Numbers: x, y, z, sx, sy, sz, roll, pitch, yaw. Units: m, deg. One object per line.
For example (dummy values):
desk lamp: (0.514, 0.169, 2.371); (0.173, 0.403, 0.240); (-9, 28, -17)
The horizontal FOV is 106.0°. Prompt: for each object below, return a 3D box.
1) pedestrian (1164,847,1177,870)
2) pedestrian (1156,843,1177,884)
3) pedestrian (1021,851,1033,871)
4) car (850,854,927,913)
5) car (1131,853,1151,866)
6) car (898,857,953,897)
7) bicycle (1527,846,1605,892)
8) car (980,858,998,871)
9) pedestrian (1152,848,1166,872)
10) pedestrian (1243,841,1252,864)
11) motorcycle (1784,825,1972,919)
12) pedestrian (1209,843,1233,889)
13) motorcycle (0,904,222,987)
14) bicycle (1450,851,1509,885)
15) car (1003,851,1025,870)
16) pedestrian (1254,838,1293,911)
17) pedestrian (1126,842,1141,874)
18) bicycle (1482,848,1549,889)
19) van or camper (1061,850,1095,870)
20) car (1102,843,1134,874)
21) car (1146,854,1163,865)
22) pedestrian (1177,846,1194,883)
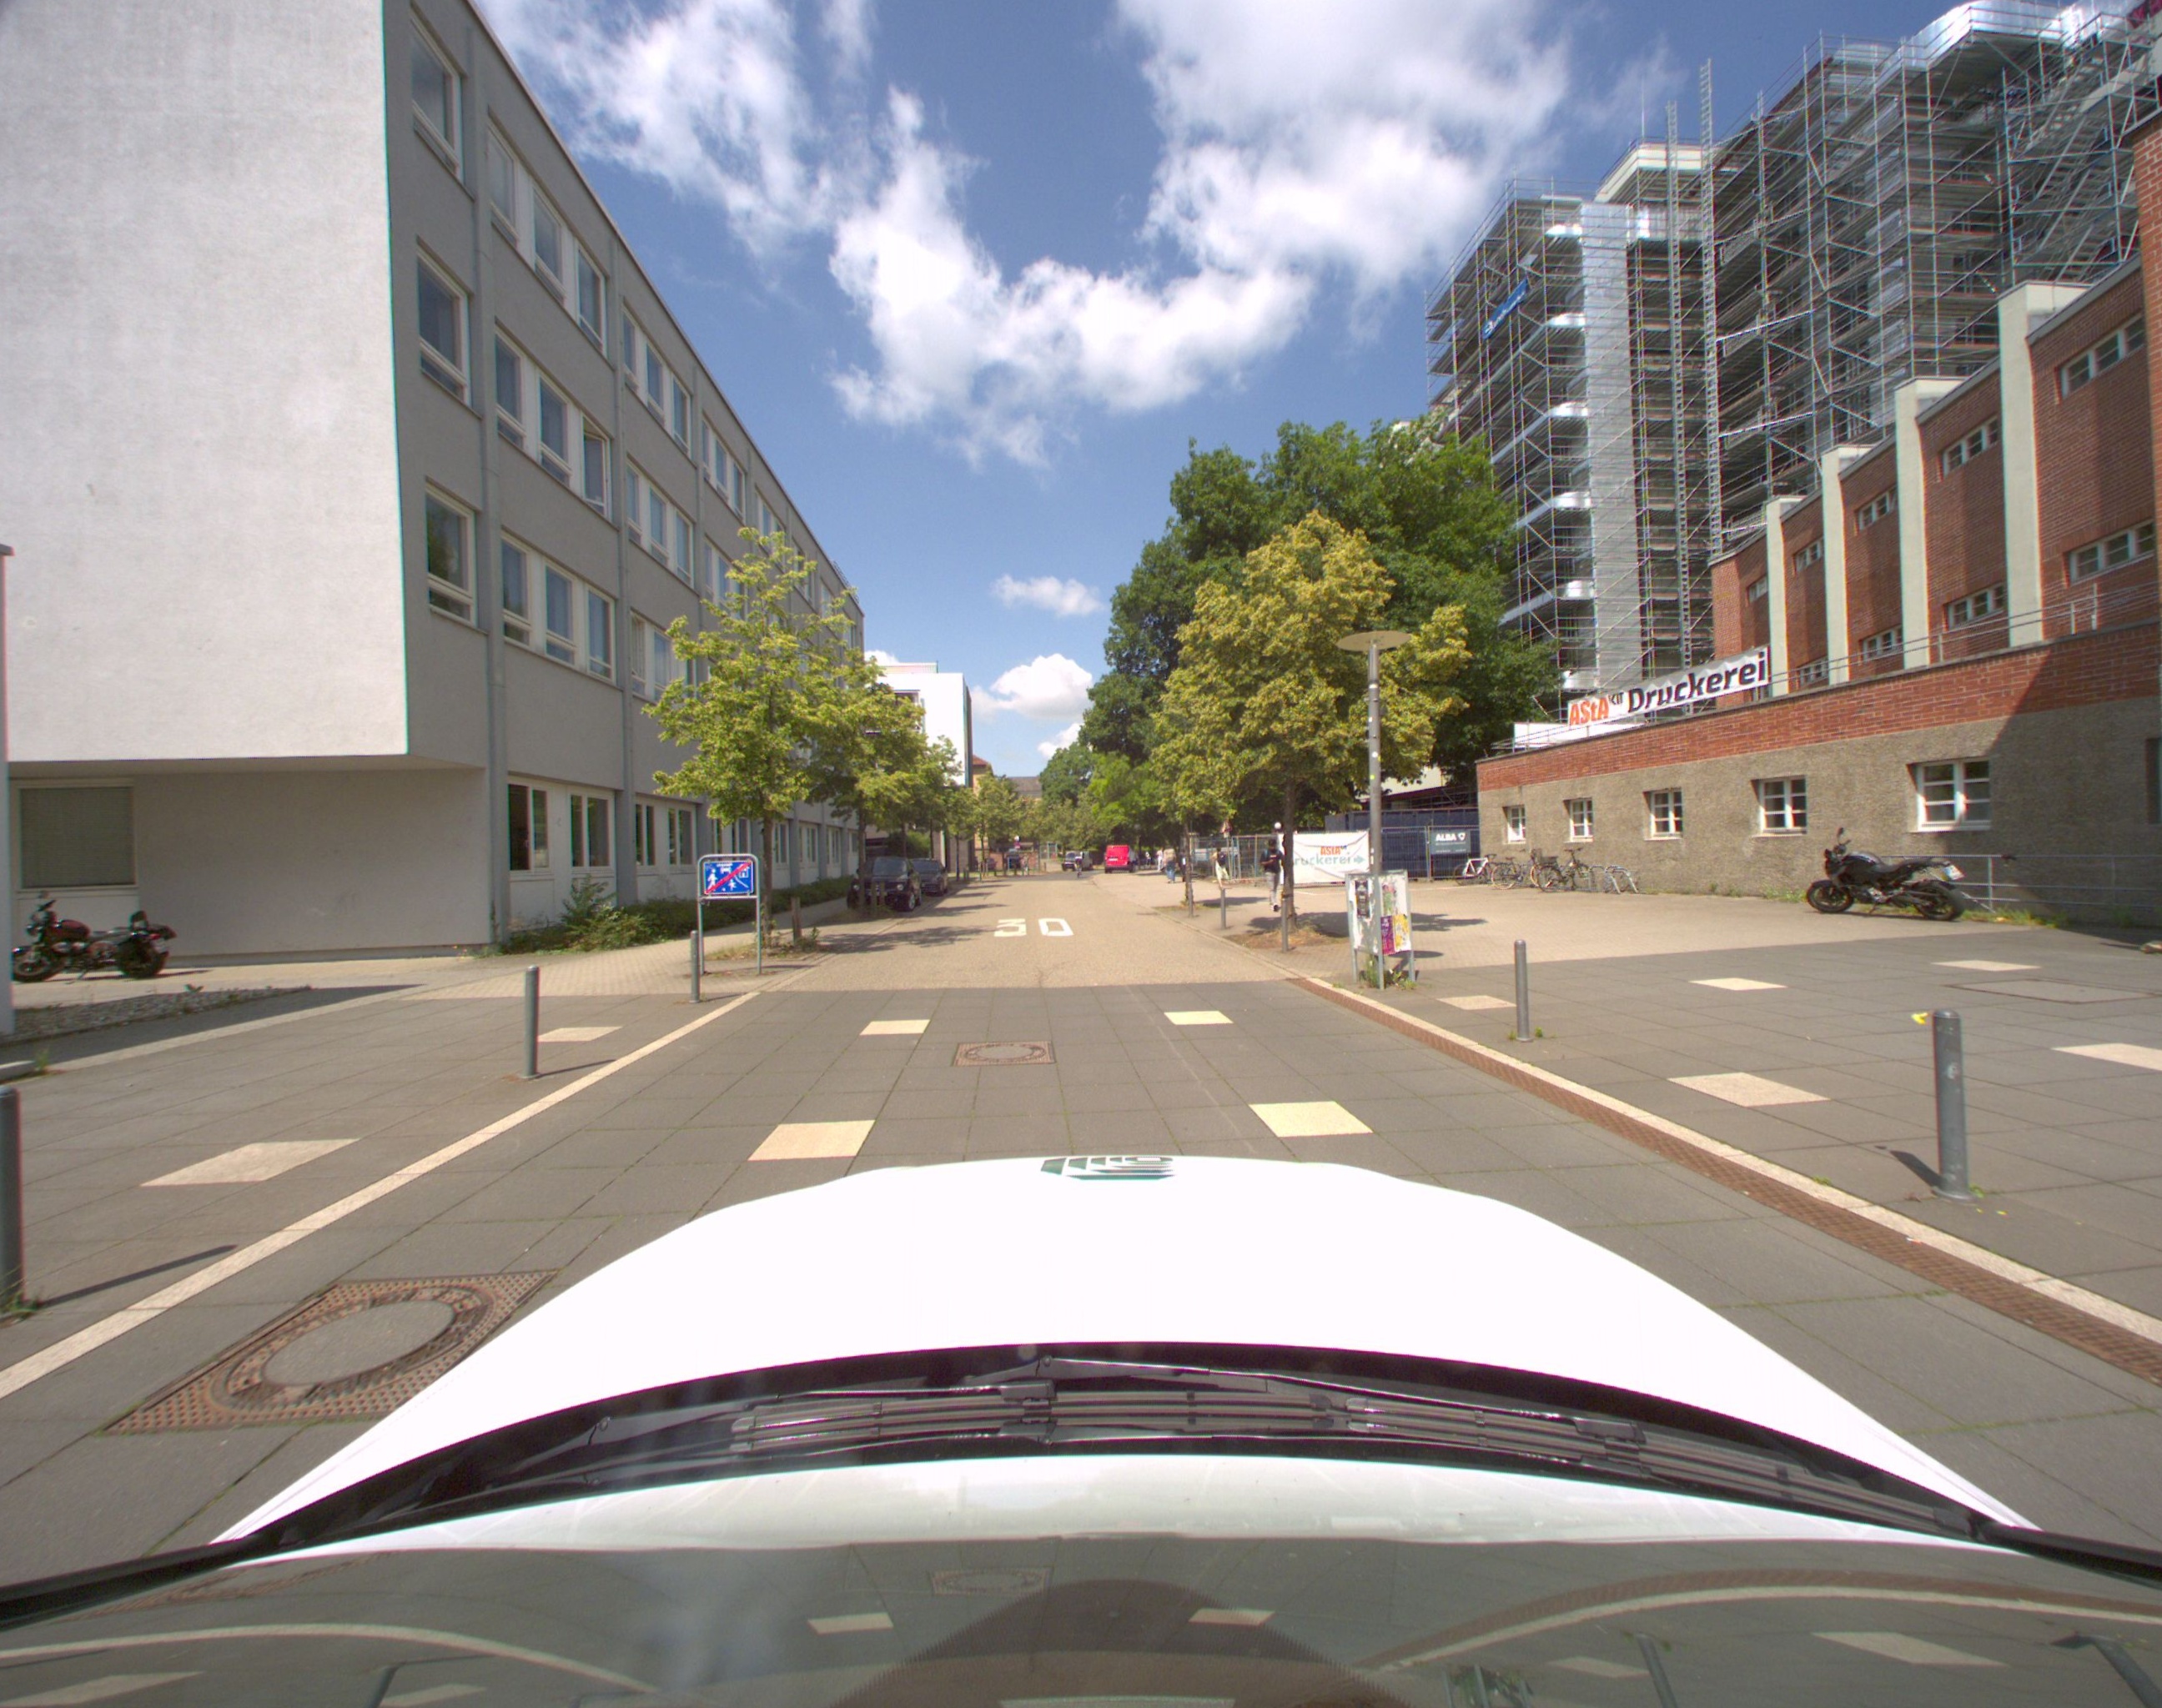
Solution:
pedestrian: (6.670, 0.310, 60.976); (0.749, 1.710, 0.557); (-1, -1, -40)
pedestrian: (3.798, 0.424, 36.357); (0.846, 1.764, 0.716); (-2, 0, 4)
pedestrian: (-4.870, 0.628, 73.422); (0.578, 1.764, 0.916); (-2, 0, 24)
car: (-5.634, 0.806, 24.290); (1.695, 1.564, 4.059); (-2, 0, -6)
car: (7.877, 0.707, 106.408); (1.746, 1.522, 4.129); (-2, 0, 16)
car: (-6.147, 0.867, 32.542); (1.776, 1.461, 4.250); (-1, 0, -6)
bicycle: (12.696, 0.388, 21.327); (1.802, 1.109, 0.447); (-2, 0, -5)
car: (-9.895, 1.101, 88.189); (1.815, 1.324, 3.760); (-2, 0, -5)
pedestrian: (5.916, 0.473, 61.850); (0.727, 1.821, 0.622); (-1, -1, -40)
pedestrian: (13.867, -0.128, 67.855); (0.541, 1.837, 0.762); (-2, -1, 2)
motorcycle: (12.389, 0.259, 12.786); (0.694, 1.323, 2.218); (-2, 0, -2)
pedestrian: (5.232, 0.457, 30.432); (0.648, 1.666, 0.903); (-2, 0, -3)
motorcycle: (-14.392, 1.336, 12.109); (2.171, 1.042, 0.881); (-2, 0, -4)
bicycle: (12.589, 0.429, 25.739); (1.668, 1.003, 0.447); (-2, 0, -5)
car: (-7.345, 0.711, 88.514); (2.172, 1.926, 5.174); (-2, 0, -6)
pedestrian: (4.624, 0.477, 19.591); (0.641, 1.697, 0.790); (-2, 0, -8)
pedestrian: (2.978, 0.229, 46.304); (0.690, 1.781, 0.789); (-2, 0, 9)
bicycle: (12.468, 0.403, 23.370); (1.698, 1.109, 0.447); (-2, 0, -5)
van or camper: (-0.257, 0.544, 80.858); (1.939, 1.923, 5.443); (-1, 0, 16)
car: (2.521, 0.257, 54.220); (1.839, 1.891, 4.898); (-2, 0, 6)
car: (10.324, 0.747, 113.685); (1.603, 1.388, 4.017); (-2, 0, 16)
pedestrian: (4.636, 0.474, 36.139); (0.665, 1.600, 0.986); (-2, 0, 5)
